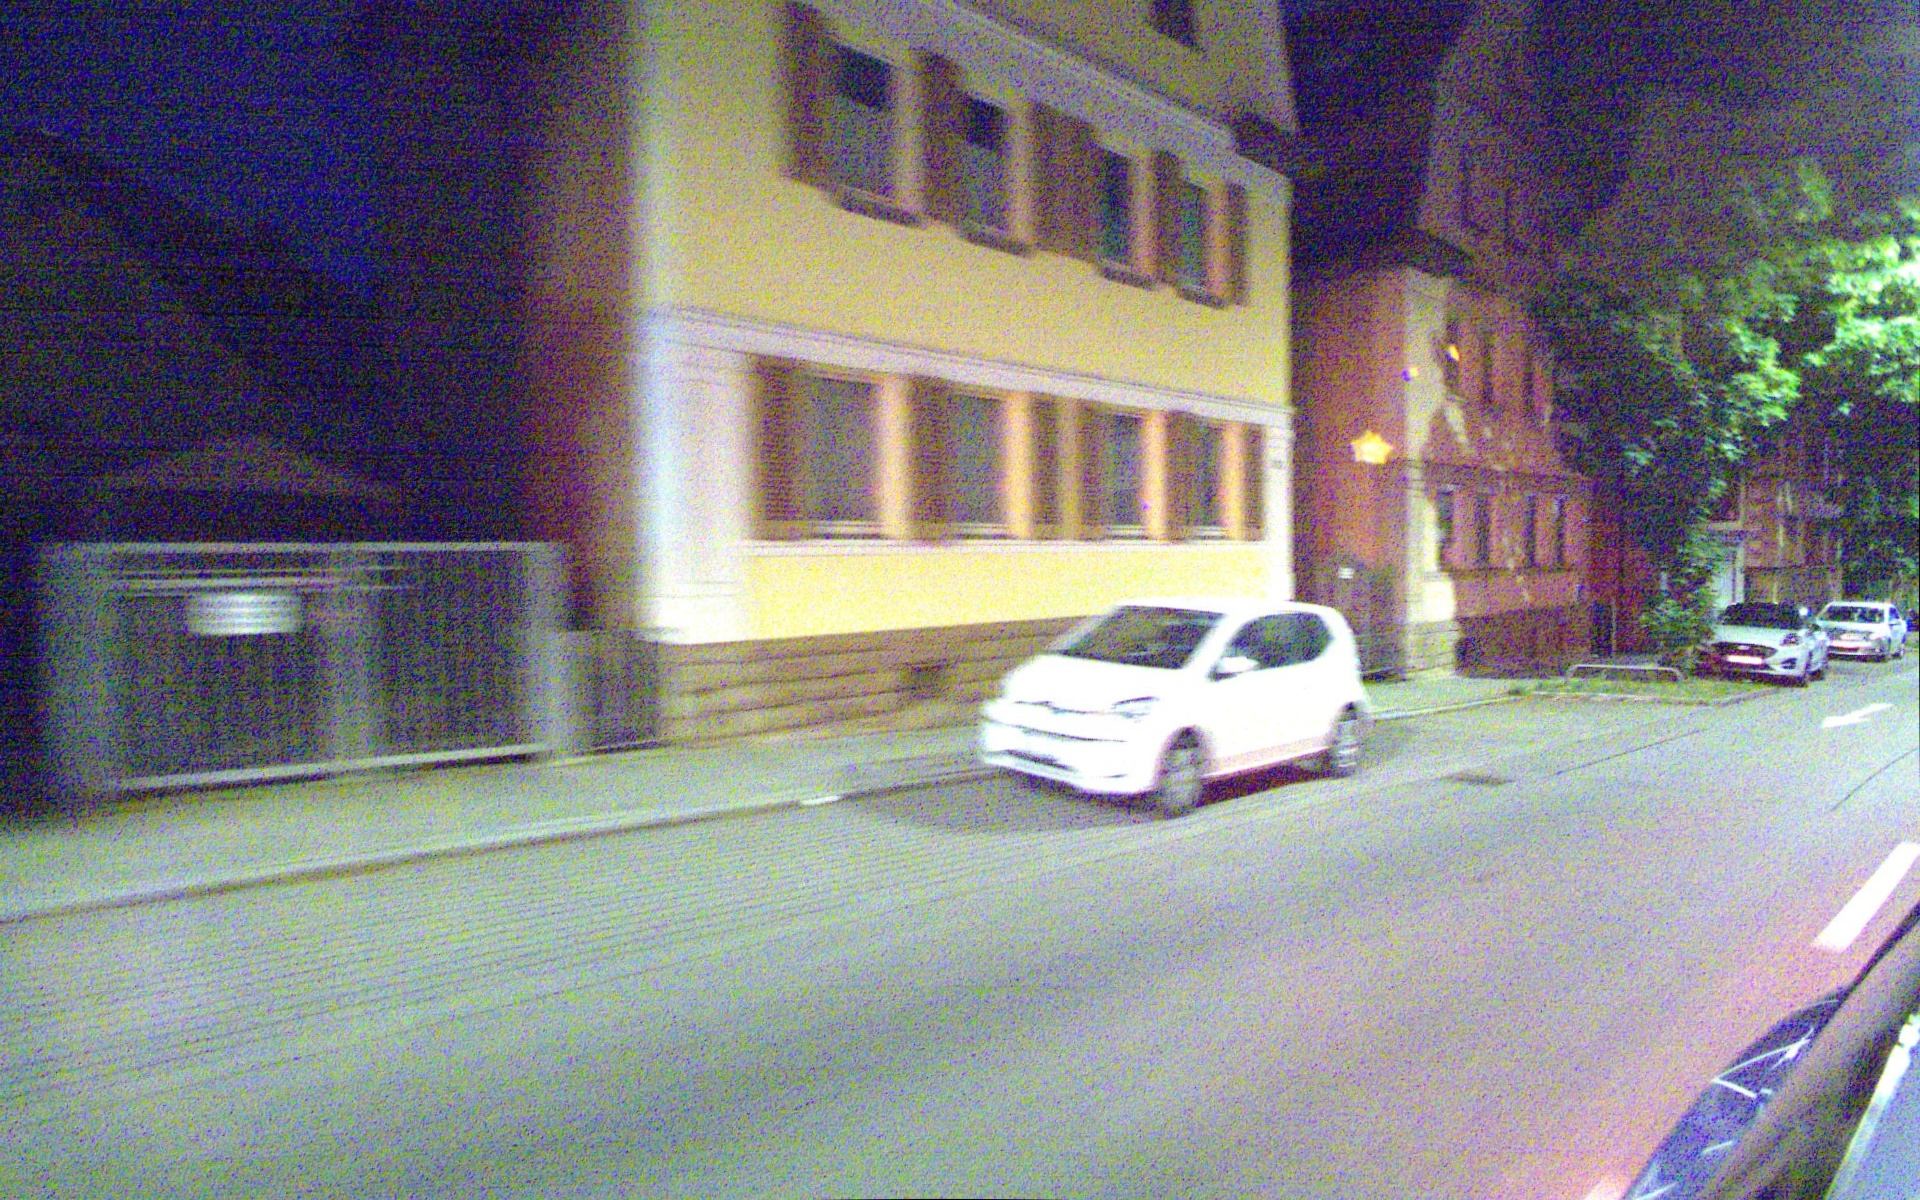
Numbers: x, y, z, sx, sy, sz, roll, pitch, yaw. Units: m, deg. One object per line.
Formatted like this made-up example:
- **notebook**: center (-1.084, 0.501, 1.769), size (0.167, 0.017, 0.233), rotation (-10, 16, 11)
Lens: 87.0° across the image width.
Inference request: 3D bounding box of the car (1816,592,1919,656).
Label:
- **car**: center (26.122, 0.644, 29.004), size (4.282, 1.617, 1.742), rotation (0, 2, -41)

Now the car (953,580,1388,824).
- **car**: center (1.829, 0.638, 8.217), size (3.541, 1.503, 1.670), rotation (0, 2, -42)

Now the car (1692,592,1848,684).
- **car**: center (16.230, 0.674, 20.218), size (3.977, 1.572, 1.862), rotation (0, 2, -43)
